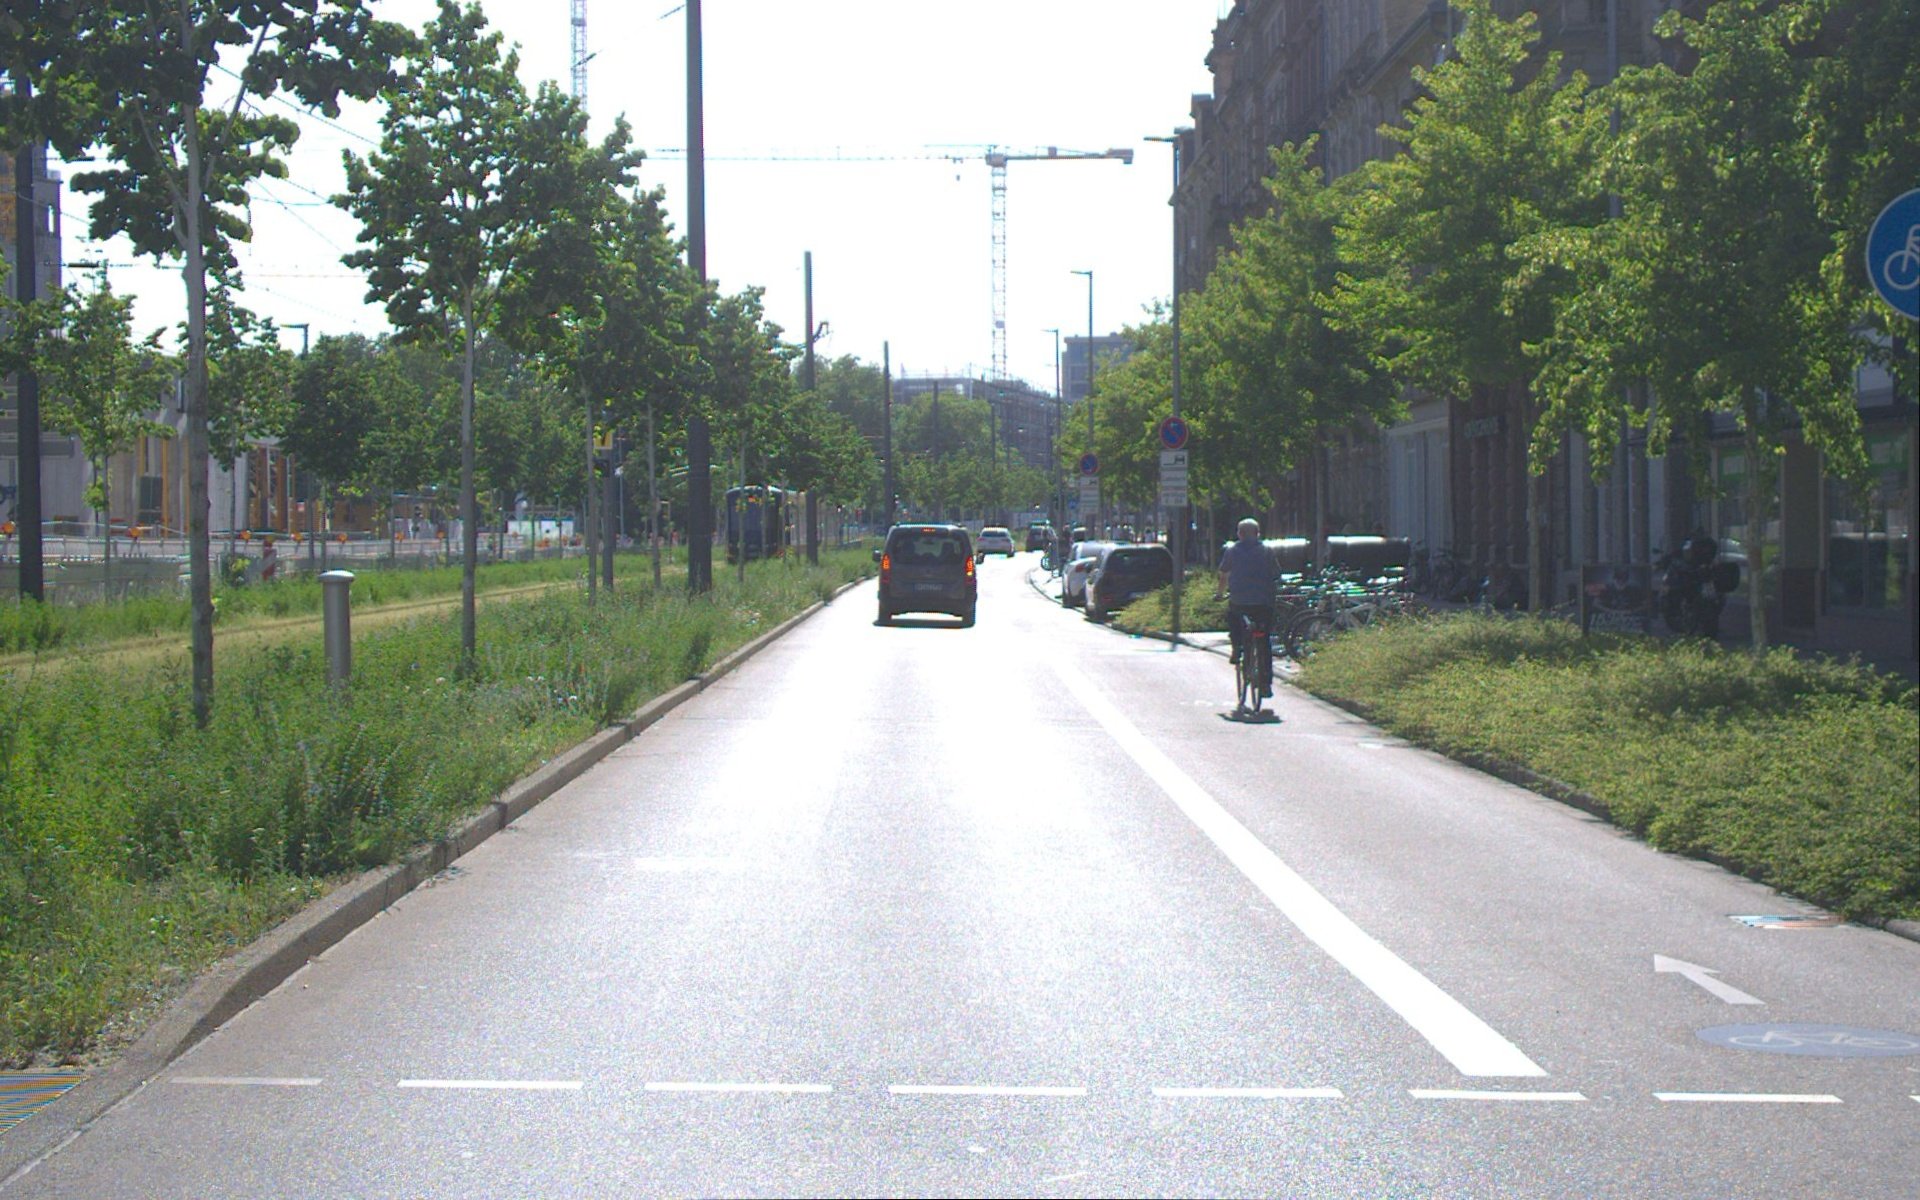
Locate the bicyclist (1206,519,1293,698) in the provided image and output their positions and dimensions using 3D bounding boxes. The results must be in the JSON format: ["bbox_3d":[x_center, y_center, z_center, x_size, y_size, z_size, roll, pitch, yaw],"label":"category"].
[{"bbox_3d":[2.750,0.068,32.721,0.684,1.667,0.922,2,1,-1],"label":"bicyclist"}]

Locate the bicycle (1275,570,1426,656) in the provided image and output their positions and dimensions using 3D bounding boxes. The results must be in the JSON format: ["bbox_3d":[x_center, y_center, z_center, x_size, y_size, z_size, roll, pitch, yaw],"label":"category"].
[{"bbox_3d":[4.822,0.157,42.491,1.792,1.027,0.527,-1,1,0],"label":"bicycle"}]

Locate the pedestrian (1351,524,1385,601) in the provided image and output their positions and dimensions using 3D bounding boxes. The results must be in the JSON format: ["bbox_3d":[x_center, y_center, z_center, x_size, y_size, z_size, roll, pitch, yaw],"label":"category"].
[{"bbox_3d":[8.558,-0.789,72.096,0.614,1.606,0.669,-1,1,-1],"label":"pedestrian"}]

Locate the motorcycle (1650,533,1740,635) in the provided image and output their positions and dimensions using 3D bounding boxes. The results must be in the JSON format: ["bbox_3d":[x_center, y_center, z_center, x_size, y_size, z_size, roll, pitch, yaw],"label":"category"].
[{"bbox_3d":[9.424,-0.223,44.154,0.700,1.263,1.982,-1,1,-1],"label":"motorcycle"}]

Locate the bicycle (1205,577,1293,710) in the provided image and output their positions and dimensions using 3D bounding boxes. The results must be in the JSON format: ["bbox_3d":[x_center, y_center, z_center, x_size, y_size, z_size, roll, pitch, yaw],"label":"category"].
[{"bbox_3d":[2.732,0.395,32.620,0.601,1.177,1.869,2,1,-1],"label":"bicycle"}]

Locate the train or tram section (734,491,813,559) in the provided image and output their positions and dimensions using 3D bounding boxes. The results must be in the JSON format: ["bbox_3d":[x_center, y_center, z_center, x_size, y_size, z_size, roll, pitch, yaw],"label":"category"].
[{"bbox_3d":[-7.969,-3.184,147.815,2.756,2.733,9.864,1,1,0],"label":"train or tram section"}]

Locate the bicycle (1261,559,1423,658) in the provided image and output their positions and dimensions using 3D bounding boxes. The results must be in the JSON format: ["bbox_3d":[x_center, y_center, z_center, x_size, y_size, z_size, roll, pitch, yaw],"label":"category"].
[{"bbox_3d":[4.544,0.094,40.970,1.792,1.027,0.527,-5,1,0],"label":"bicycle"}]

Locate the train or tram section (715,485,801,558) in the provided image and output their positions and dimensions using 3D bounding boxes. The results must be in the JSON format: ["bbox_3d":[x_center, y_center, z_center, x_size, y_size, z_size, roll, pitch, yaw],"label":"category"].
[{"bbox_3d":[-8.030,-3.089,137.967,2.756,2.733,9.864,1,1,0],"label":"train or tram section"}]

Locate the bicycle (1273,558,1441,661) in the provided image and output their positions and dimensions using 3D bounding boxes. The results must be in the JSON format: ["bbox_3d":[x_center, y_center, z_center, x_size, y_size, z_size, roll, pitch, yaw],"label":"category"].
[{"bbox_3d":[4.565,0.108,39.596,1.792,1.027,0.527,-5,1,0],"label":"bicycle"}]

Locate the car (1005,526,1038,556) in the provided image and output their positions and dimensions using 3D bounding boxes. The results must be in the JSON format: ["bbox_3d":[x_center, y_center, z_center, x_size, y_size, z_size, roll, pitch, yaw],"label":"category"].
[{"bbox_3d":[3.935,-3.749,220.141,1.993,1.831,4.000,1,1,-1],"label":"car"}]

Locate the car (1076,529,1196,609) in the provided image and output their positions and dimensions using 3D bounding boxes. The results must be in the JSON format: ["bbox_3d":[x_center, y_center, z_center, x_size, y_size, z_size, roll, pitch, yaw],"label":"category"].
[{"bbox_3d":[3.414,-0.629,67.396,2.028,1.493,4.654,-1,1,-1],"label":"car"}]

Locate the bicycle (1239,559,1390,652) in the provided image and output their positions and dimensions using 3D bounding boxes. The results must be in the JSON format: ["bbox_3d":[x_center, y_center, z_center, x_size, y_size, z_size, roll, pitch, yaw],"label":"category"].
[{"bbox_3d":[4.520,0.066,43.914,1.792,1.027,0.527,-5,1,0],"label":"bicycle"}]

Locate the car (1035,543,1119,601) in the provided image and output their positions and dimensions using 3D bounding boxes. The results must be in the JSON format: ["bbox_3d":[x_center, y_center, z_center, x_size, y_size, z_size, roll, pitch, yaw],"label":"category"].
[{"bbox_3d":[3.114,-0.766,92.298,2.028,1.493,4.530,-1,1,-1],"label":"car"}]

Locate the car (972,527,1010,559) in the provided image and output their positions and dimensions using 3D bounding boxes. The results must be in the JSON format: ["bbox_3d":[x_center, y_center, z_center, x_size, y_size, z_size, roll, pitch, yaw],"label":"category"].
[{"bbox_3d":[1.711,-3.114,189.120,1.993,1.723,4.000,1,1,-1],"label":"car"}]

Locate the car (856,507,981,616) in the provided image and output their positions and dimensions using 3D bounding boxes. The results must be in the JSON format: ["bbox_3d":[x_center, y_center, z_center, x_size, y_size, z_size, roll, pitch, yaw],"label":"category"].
[{"bbox_3d":[-0.766,-0.729,63.599,2.200,1.919,4.654,-1,1,-1],"label":"car"}]

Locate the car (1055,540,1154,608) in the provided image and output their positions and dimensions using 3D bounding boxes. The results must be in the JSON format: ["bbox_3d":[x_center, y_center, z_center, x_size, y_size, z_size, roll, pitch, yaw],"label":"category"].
[{"bbox_3d":[3.323,-0.625,79.770,2.028,1.493,4.530,-1,1,-1],"label":"car"}]

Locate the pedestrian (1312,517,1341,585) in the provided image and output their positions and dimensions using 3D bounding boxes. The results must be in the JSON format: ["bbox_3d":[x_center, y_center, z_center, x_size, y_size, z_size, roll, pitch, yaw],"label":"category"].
[{"bbox_3d":[8.740,-1.177,81.983,0.614,1.606,0.669,-1,1,-1],"label":"pedestrian"}]
